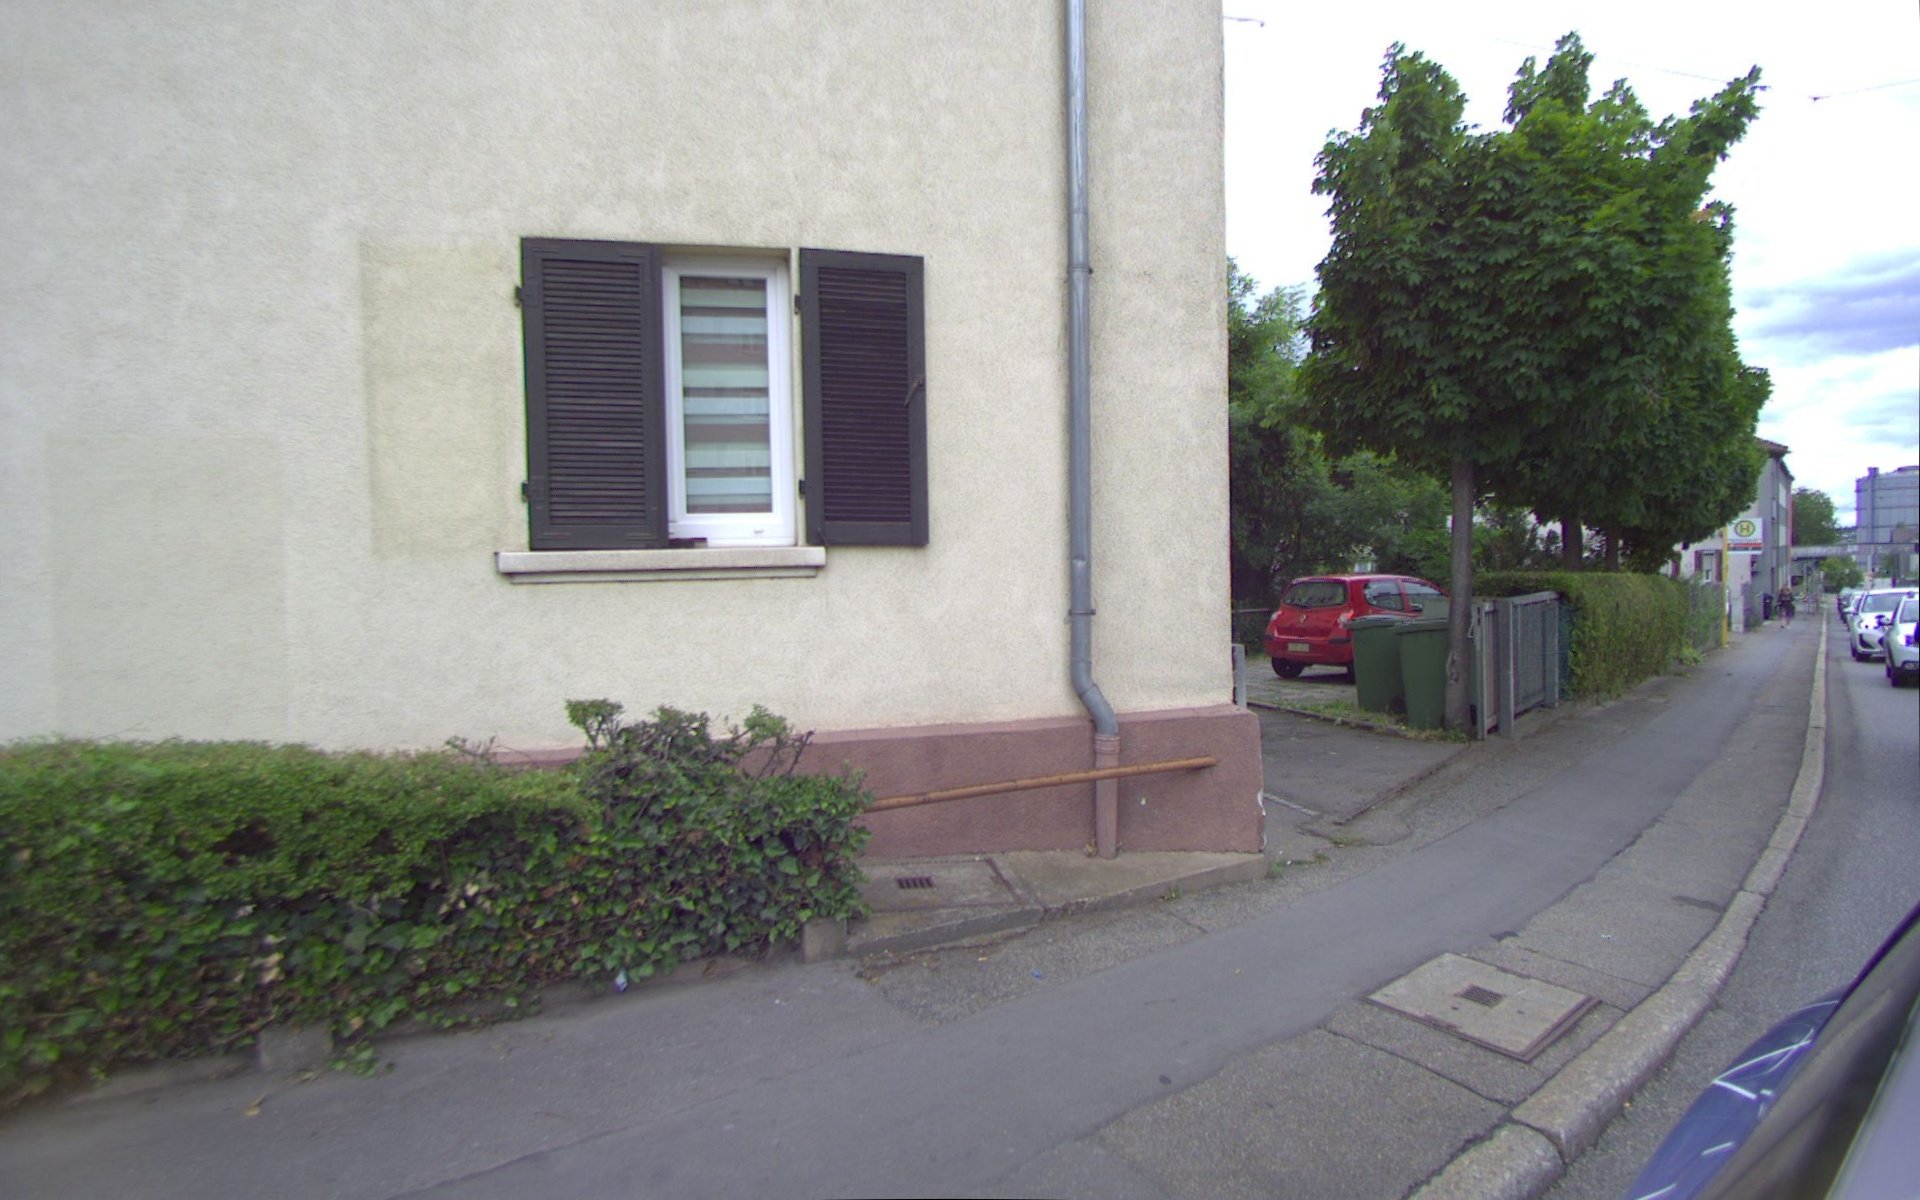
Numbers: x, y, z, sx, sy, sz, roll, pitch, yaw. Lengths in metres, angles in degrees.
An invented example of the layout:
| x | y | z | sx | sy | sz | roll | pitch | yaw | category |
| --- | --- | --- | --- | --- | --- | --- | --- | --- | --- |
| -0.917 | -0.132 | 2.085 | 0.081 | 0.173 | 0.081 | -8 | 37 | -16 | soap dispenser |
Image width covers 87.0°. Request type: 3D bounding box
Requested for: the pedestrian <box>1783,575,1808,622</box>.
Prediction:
| x | y | z | sx | sy | sz | roll | pitch | yaw | category |
| --- | --- | --- | --- | --- | --- | --- | --- | --- | --- |
| 33.588 | -0.079 | 40.682 | 0.582 | 1.864 | 0.647 | 0 | 0 | -39 | pedestrian |

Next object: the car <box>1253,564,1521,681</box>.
| x | y | z | sx | sy | sz | roll | pitch | yaw | category |
| --- | --- | --- | --- | --- | --- | --- | --- | --- | --- |
| 6.127 | 0.266 | 14.531 | 3.368 | 1.478 | 1.704 | -2 | 0 | -25 | car |

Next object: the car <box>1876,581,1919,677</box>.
| x | y | z | sx | sy | sz | roll | pitch | yaw | category |
| --- | --- | --- | --- | --- | --- | --- | --- | --- | --- |
| 17.015 | 0.434 | 17.134 | 1.890 | 1.529 | 4.109 | -3 | -2 | 38 | car |

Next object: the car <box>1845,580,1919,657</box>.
| x | y | z | sx | sy | sz | roll | pitch | yaw | category |
| --- | --- | --- | --- | --- | --- | --- | --- | --- | --- |
| 21.702 | 0.369 | 23.216 | 1.891 | 1.665 | 3.945 | 0 | 1 | 38 | car |

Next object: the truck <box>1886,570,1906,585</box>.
| x | y | z | sx | sy | sz | roll | pitch | yaw | category |
| --- | --- | --- | --- | --- | --- | --- | --- | --- | --- |
| 164.337 | -3.891 | 177.758 | 2.539 | 2.568 | 5.410 | 1 | 1 | 42 | truck |
